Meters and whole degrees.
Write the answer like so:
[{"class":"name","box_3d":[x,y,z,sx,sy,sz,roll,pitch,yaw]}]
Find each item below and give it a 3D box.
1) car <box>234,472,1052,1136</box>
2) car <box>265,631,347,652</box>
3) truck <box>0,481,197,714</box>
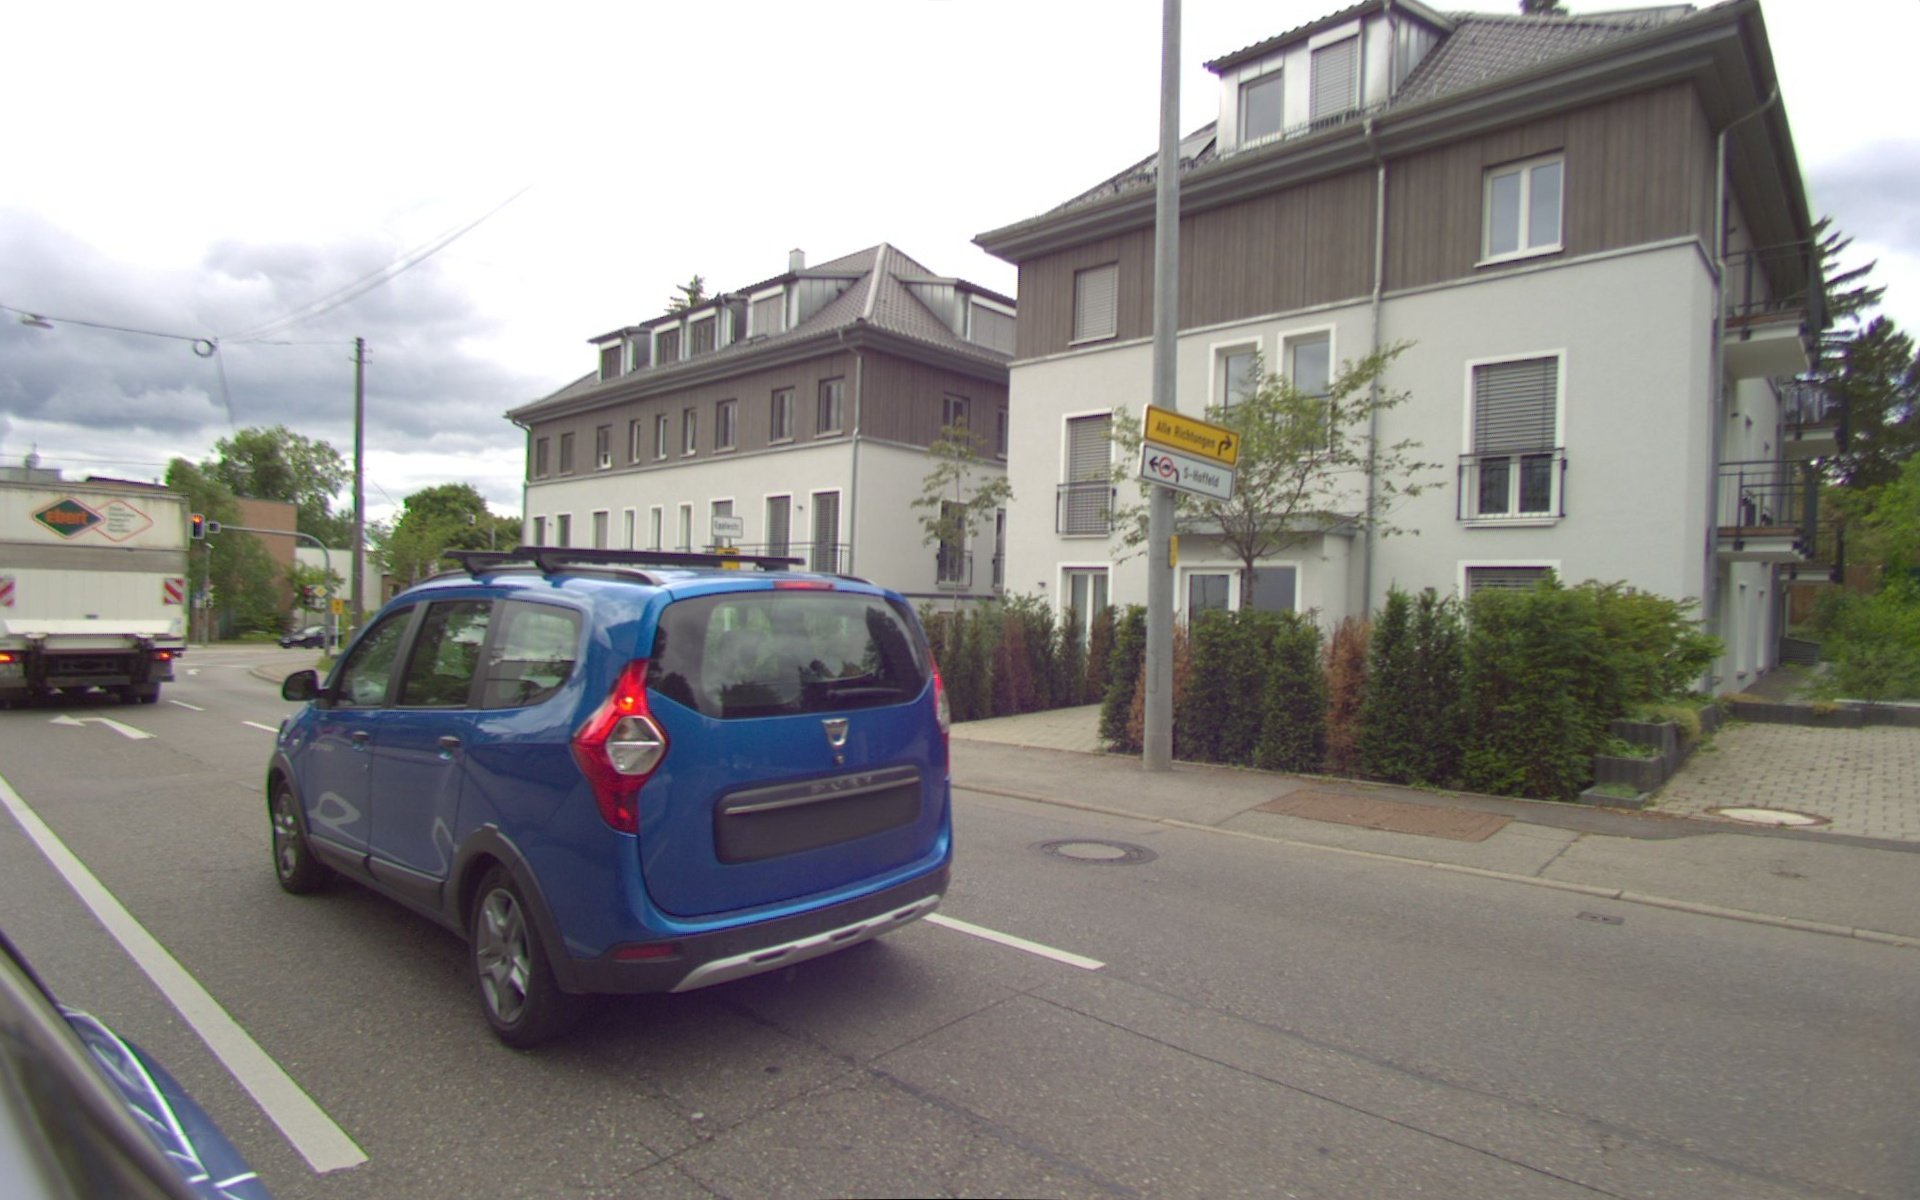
[{"class":"car","box_3d":[-1.839,0.568,4.807,4.378,1.730,1.786,-1,-2,43]},{"class":"car","box_3d":[-41.494,2.613,64.263,1.985,1.253,3.973,1,-1,20]},{"class":"truck","box_3d":[-16.475,-0.018,18.394,7.492,3.487,2.748,0,-2,42]}]
